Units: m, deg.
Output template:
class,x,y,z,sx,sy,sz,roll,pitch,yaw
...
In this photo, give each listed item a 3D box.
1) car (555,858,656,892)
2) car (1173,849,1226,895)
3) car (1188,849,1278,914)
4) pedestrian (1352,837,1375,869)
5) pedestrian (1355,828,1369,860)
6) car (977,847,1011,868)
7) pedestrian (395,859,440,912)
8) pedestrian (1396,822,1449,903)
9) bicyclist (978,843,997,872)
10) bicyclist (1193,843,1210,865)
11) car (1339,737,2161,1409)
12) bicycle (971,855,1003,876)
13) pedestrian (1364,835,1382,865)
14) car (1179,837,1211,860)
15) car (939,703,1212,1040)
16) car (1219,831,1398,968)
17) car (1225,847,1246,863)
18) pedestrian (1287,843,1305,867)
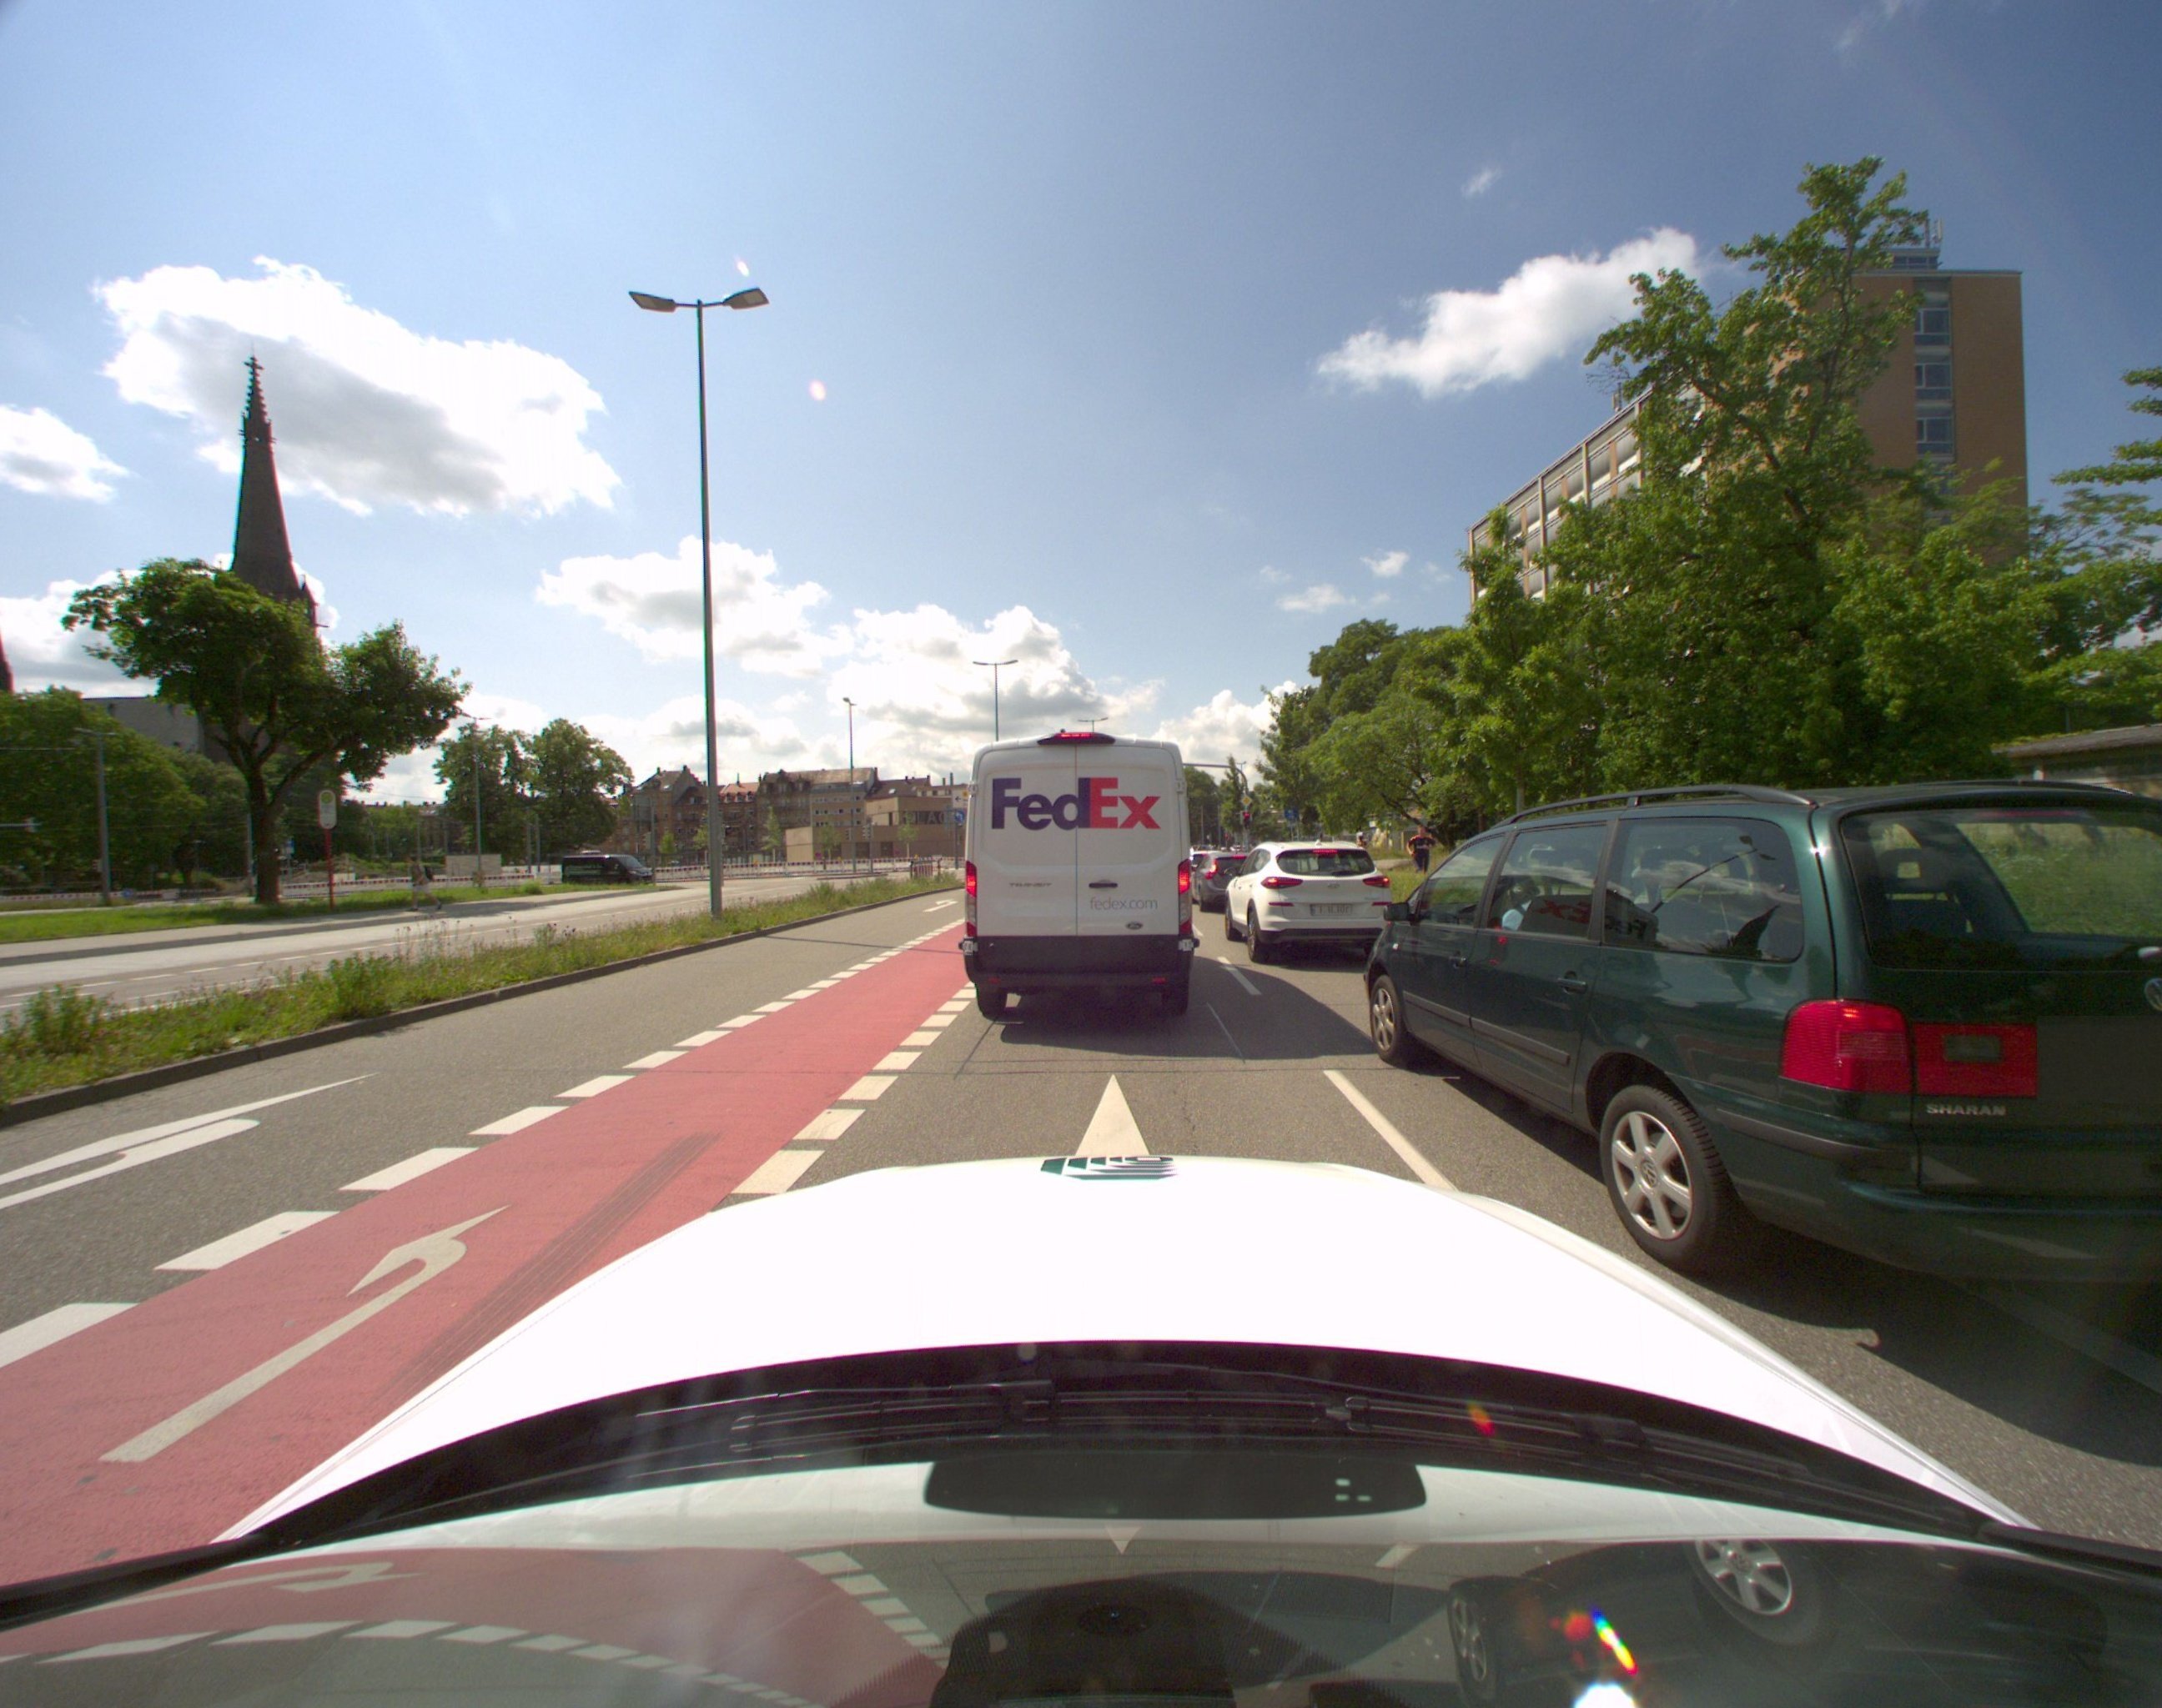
class,x,y,z,sx,sy,sz,roll,pitch,yaw
car,-29.373,1.258,50.413,4.995,1.879,1.928,-2,1,-2
car,3.992,0.561,27.800,1.478,1.428,3.436,-2,0,4
car,3.797,0.621,20.911,1.790,1.461,3.842,-2,0,4
pedestrian,14.022,-0.055,40.471,0.842,1.539,0.835,-2,0,1
pedestrian,18.640,-0.674,54.035,0.734,2.058,0.849,-2,0,8
car,-8.862,0.351,83.345,1.978,2.013,4.017,-2,0,16
pedestrian,-19.913,0.934,24.445,0.548,1.560,0.881,-2,0,31
pedestrian,8.315,0.200,19.865,0.947,1.892,0.774,-2,0,1
bicyclist,-6.129,0.248,53.398,1.117,1.844,0.592,-2,1,-5
bicyclist,7.993,-0.001,54.053,0.966,1.474,0.550,-2,0,-6
car,2.910,0.545,4.300,1.805,1.734,4.390,-1,0,2
bicycle,-6.143,0.732,53.394,2.061,1.290,0.603,-2,0,-5
pedestrian,19.596,-0.264,54.591,0.851,2.013,0.733,-2,0,-33
car,10.490,-0.487,74.790,2.076,2.013,4.665,-2,0,17
car,-0.045,0.128,9.367,2.134,2.652,5.703,-1,0,0
car,3.215,0.560,12.305,1.790,1.687,4.004,-2,0,4
car,19.025,0.140,100.164,1.978,1.794,4.390,-2,0,16
pedestrian,12.519,0.046,47.433,0.842,1.389,0.741,-2,0,1
